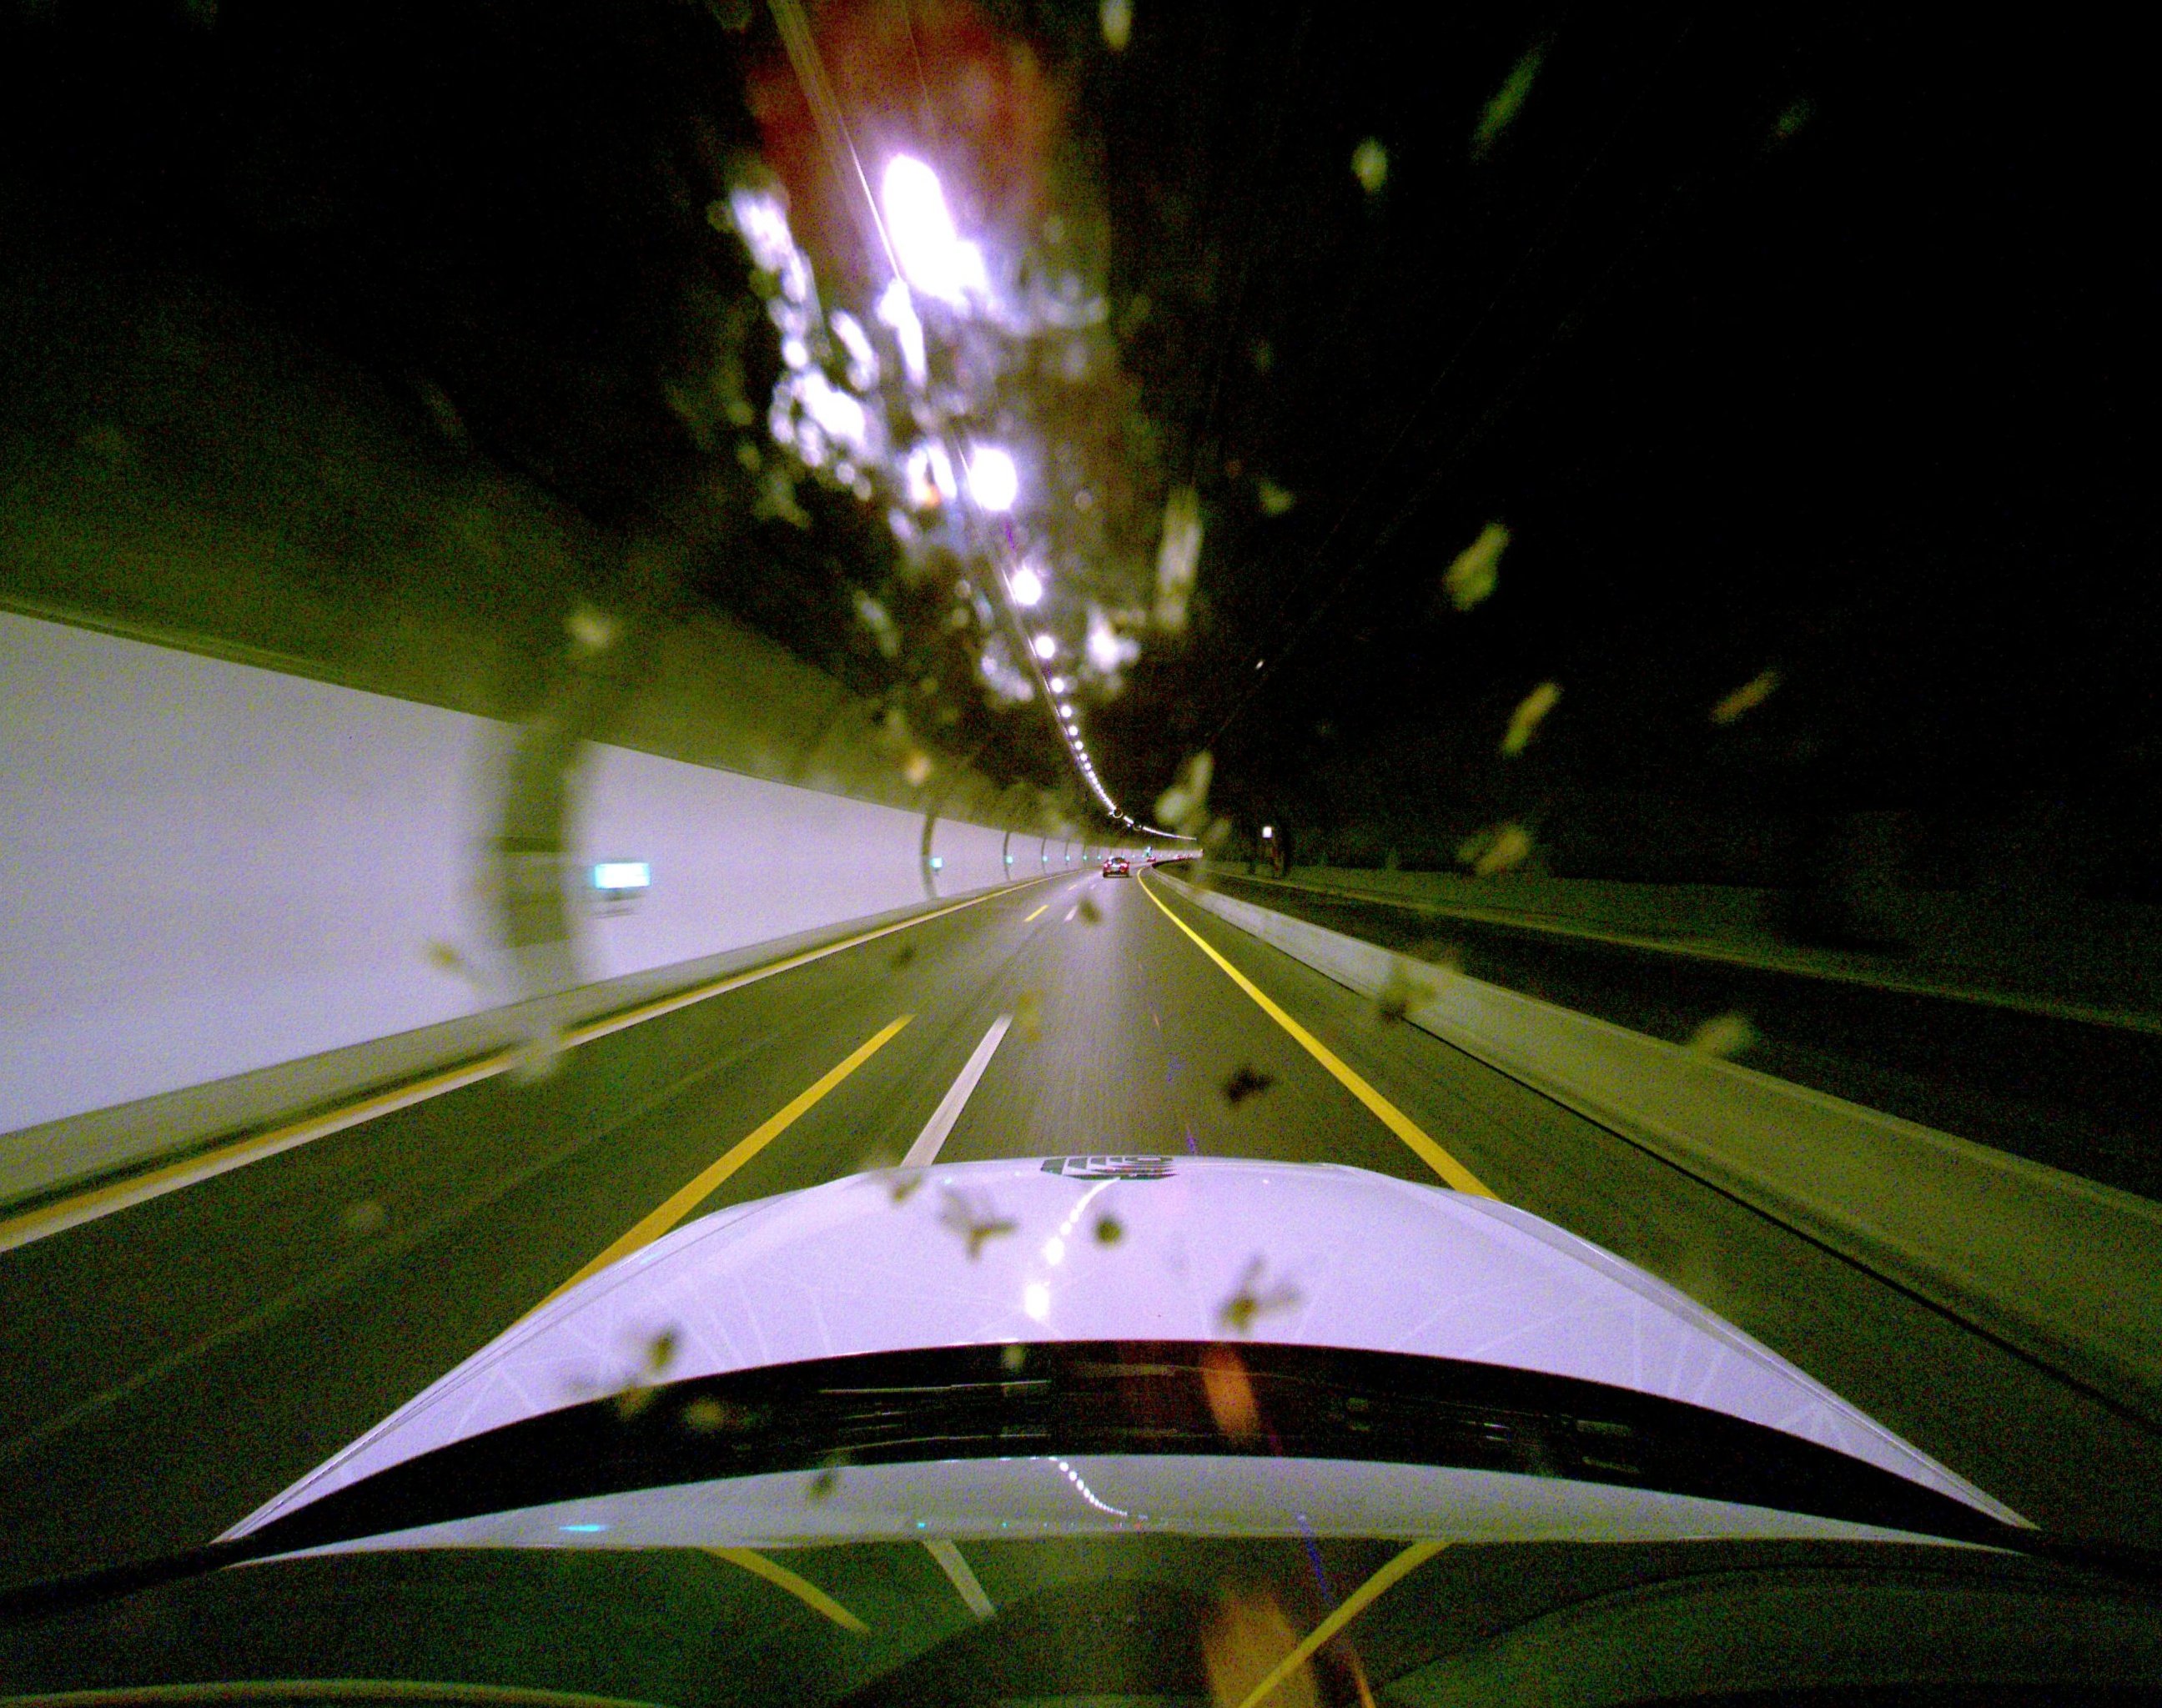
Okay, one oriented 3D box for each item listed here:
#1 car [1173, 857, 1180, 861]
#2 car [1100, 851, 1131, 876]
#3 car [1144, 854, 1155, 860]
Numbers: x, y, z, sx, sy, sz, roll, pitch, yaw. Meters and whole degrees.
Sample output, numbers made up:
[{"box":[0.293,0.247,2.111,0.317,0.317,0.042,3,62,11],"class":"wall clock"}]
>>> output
[{"box":[27.446,1.419,234.401,1.585,1.333,3.761,-1,0,10],"class":"car"},{"box":[2.529,0.673,58.843,2.132,1.706,4.003,-1,0,3],"class":"car"},{"box":[16.580,0.684,196.661,2.152,1.486,4.010,-1,0,9],"class":"car"}]
